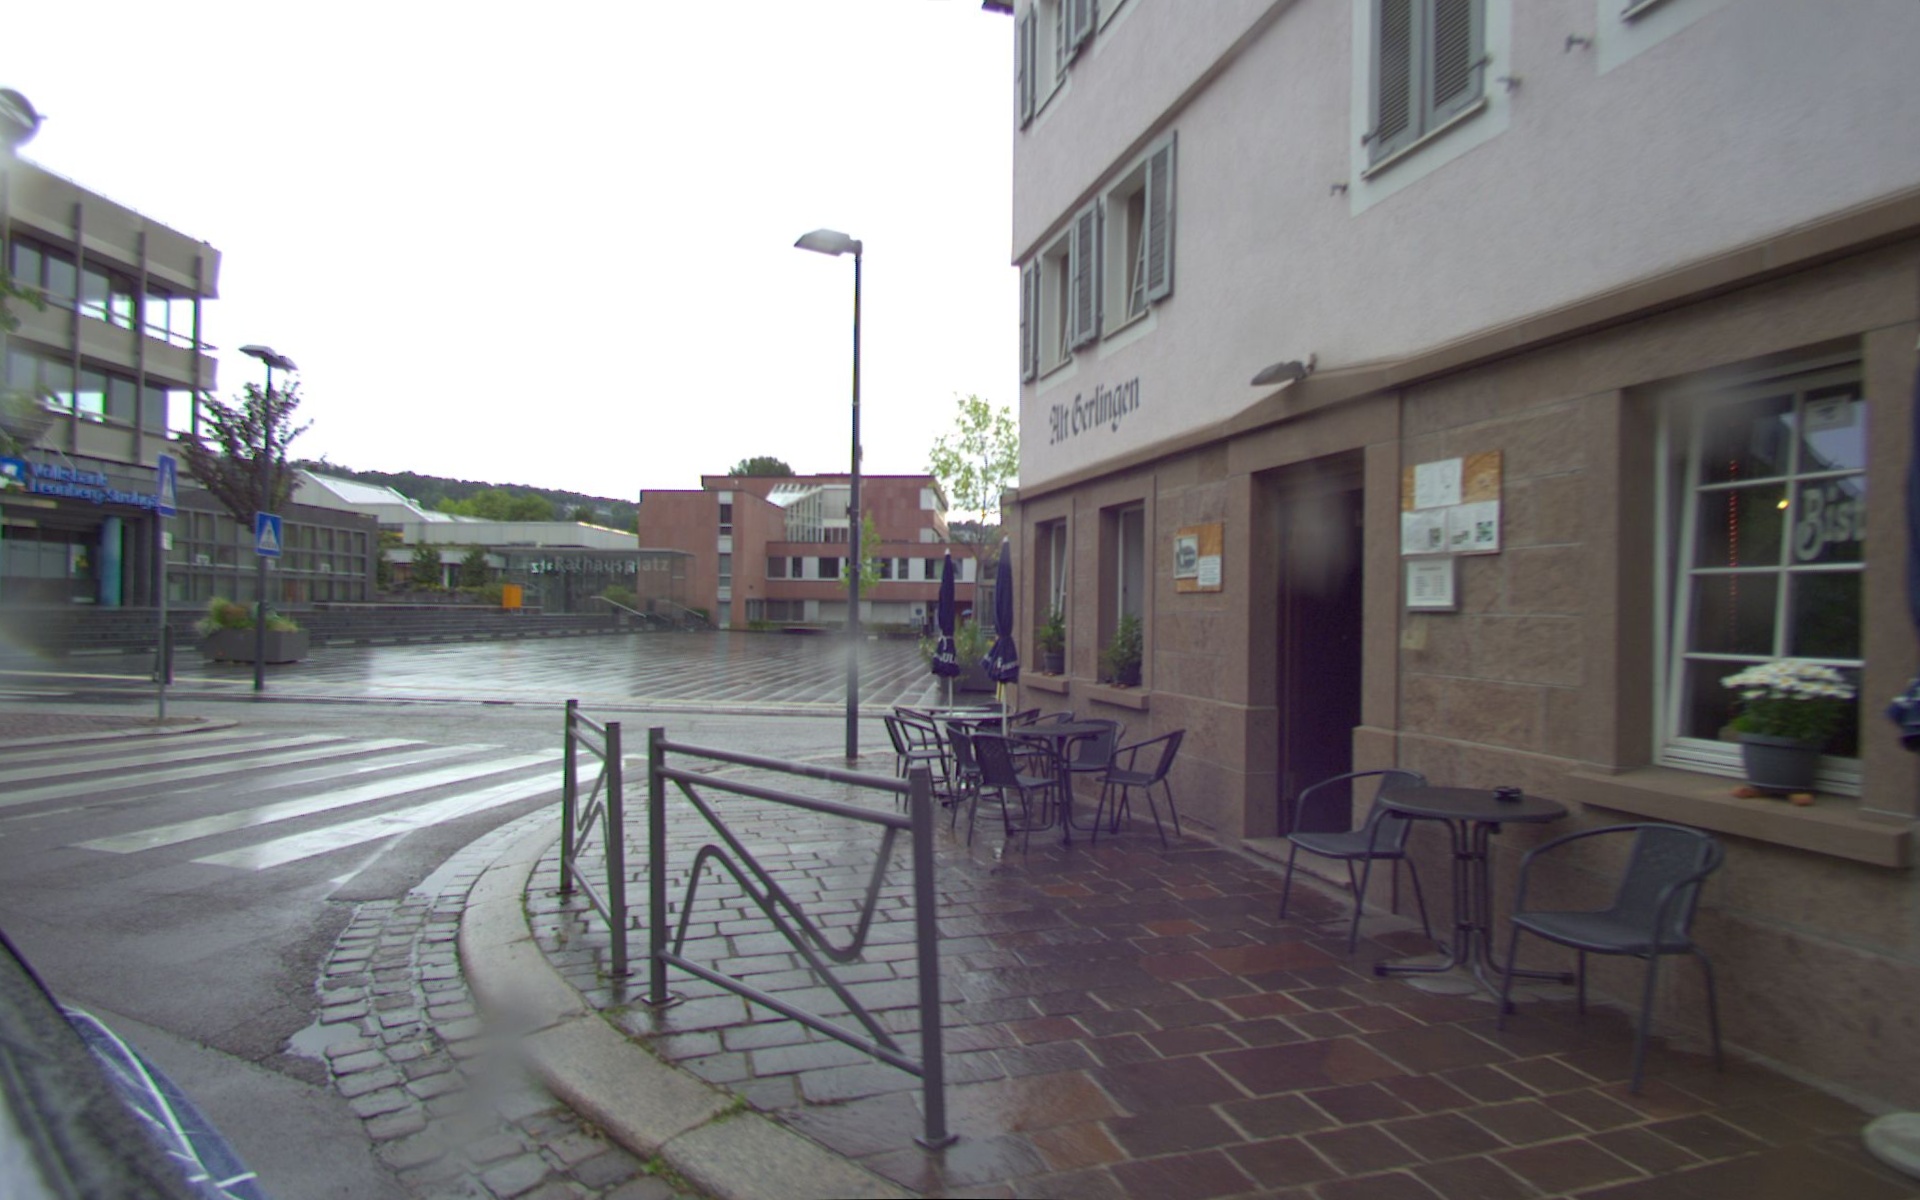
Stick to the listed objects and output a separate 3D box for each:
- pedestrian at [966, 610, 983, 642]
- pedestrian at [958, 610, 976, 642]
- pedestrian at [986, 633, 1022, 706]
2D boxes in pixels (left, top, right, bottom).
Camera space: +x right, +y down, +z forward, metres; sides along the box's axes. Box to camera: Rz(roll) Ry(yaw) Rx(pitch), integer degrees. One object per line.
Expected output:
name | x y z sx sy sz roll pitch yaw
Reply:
pedestrian | 0.948 1.691 65.246 0.731 2.029 0.851 1 0 38
pedestrian | 0.425 1.656 64.530 0.731 2.029 0.851 1 0 38
pedestrian | 1.025 1.607 23.582 0.683 1.629 0.731 1 0 -7
